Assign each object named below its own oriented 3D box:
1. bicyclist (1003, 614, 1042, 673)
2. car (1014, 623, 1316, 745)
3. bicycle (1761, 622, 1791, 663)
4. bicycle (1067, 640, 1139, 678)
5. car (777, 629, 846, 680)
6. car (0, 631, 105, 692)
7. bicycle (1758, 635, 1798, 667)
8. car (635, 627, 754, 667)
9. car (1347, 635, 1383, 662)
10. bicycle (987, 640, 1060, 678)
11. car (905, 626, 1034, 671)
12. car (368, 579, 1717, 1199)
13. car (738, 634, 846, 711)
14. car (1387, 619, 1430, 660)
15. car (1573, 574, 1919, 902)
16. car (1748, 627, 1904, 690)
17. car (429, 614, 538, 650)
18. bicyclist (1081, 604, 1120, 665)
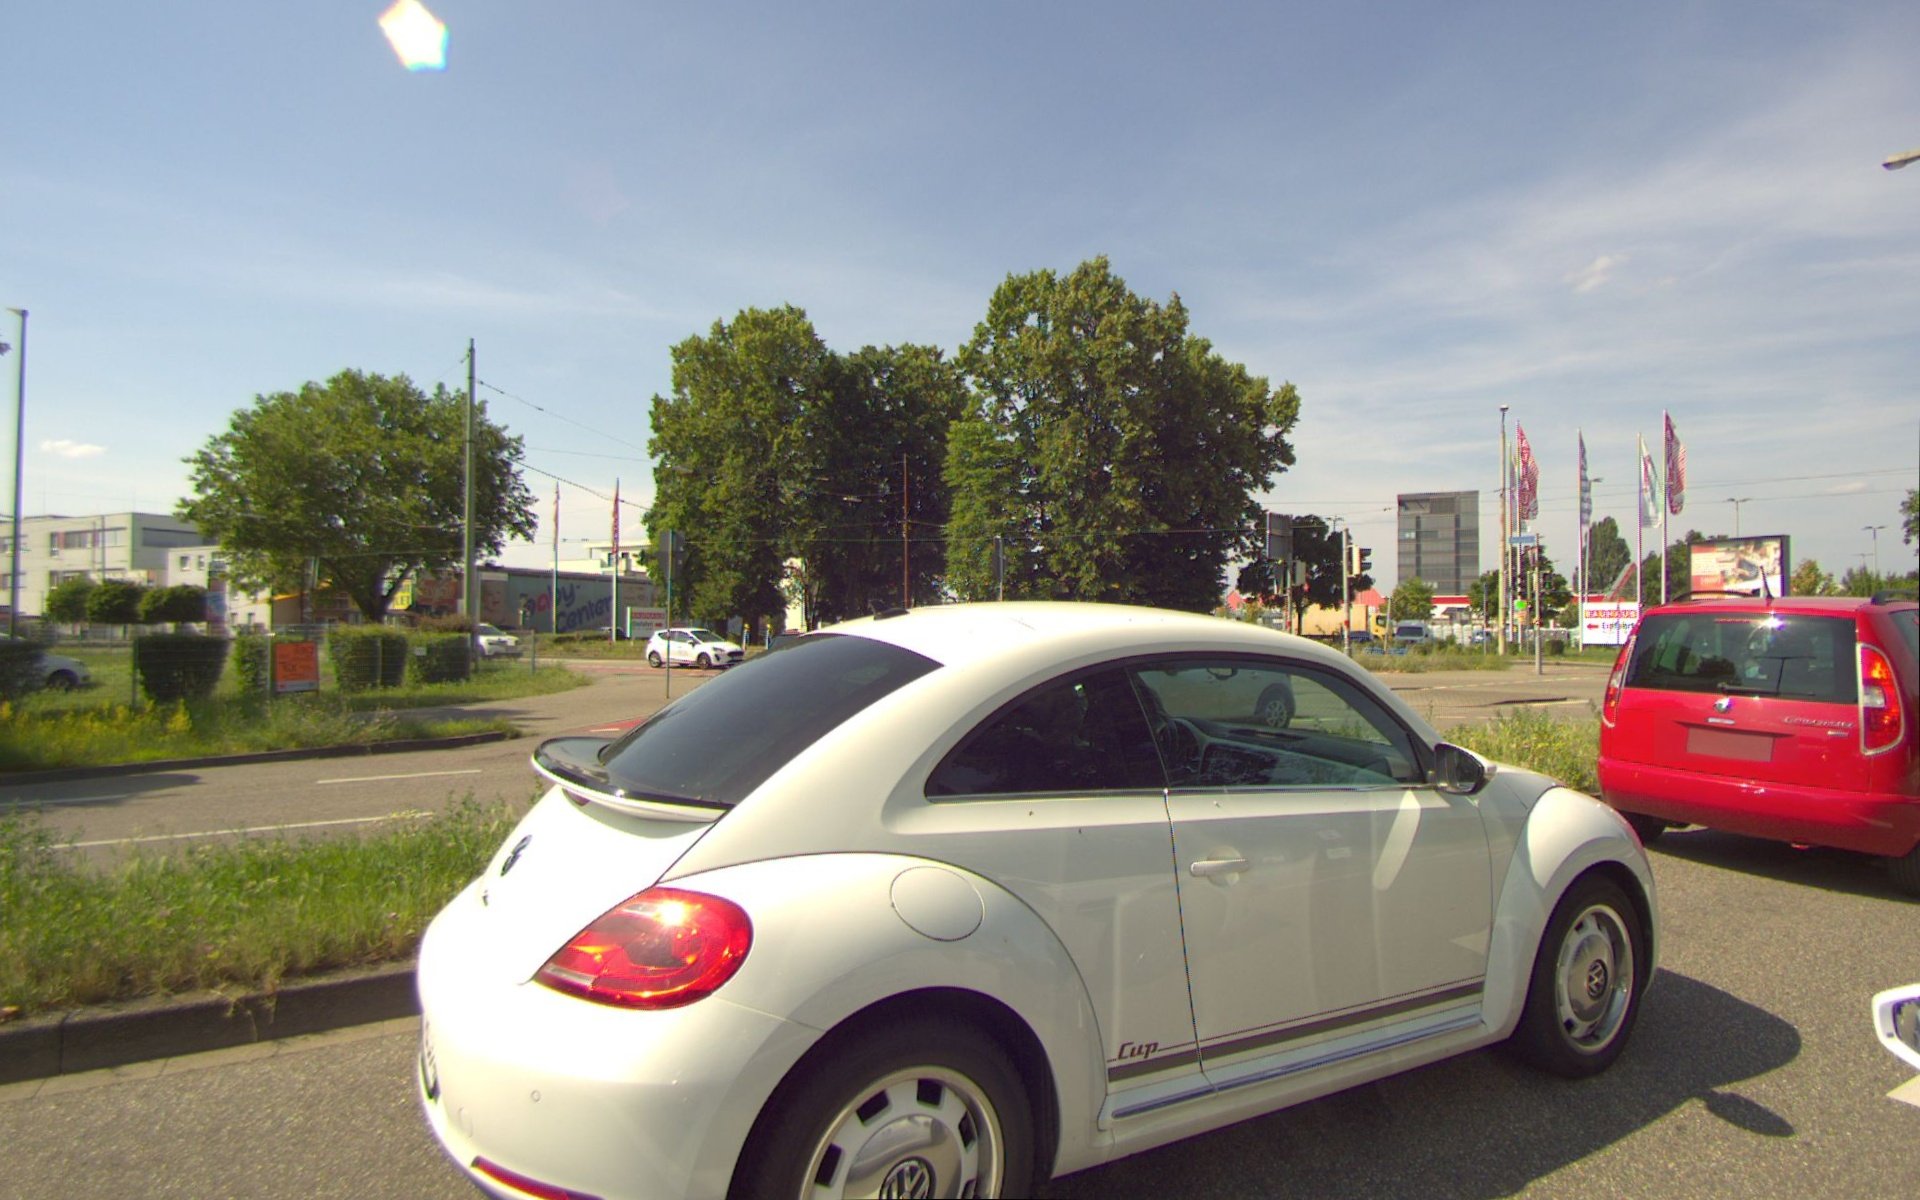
[{"bbox_3d":[1.838,1.266,29.325,0.883,1.668,0.787,-1,0,25],"label":"bicyclist"},{"bbox_3d":[2.896,1.100,14.035,3.952,1.489,1.768,1,-3,-30],"label":"car"},{"bbox_3d":[33.248,1.724,40.938,0.982,1.636,0.668,1,-2,-35],"label":"bicycle"},{"bbox_3d":[4.147,1.692,29.109,1.917,0.996,0.788,0,1,25],"label":"bicycle"},{"bbox_3d":[-4.420,1.542,29.466,1.814,1.407,3.992,0,-2,-11],"label":"car"},{"bbox_3d":[-27.364,1.715,28.134,1.961,1.687,4.844,-1,-2,21],"label":"car"},{"bbox_3d":[33.499,2.067,41.111,2.225,1.273,0.668,1,-2,-35],"label":"bicycle"},{"bbox_3d":[-9.859,1.713,37.361,3.924,1.439,1.999,-1,-2,24],"label":"car"},{"bbox_3d":[26.855,3.185,66.689,1.960,1.706,4.001,-1,-2,18],"label":"car"},{"bbox_3d":[1.863,1.712,29.308,1.972,1.053,0.744,-2,0,25],"label":"bicycle"},{"bbox_3d":[0.348,1.608,33.922,3.921,1.439,2.000,-1,-2,20],"label":"car"},{"bbox_3d":[0.469,0.749,3.263,4.087,1.499,1.757,1,0,-31],"label":"car"},{"bbox_3d":[-3.417,1.438,21.087,1.731,1.407,3.999,-1,-2,-2],"label":"car"},{"bbox_3d":[29.368,2.558,65.861,1.960,2.566,4.642,-1,-2,17],"label":"car"},{"bbox_3d":[5.960,0.764,6.661,3.872,1.616,1.621,2,-2,-30],"label":"car"},{"bbox_3d":[21.208,1.379,24.574,3.953,1.408,1.732,1,-2,-31],"label":"car"},{"bbox_3d":[-19.746,1.319,41.648,3.955,1.439,1.999,-1,-2,24],"label":"car"},{"bbox_3d":[4.082,0.998,29.137,0.883,1.738,0.782,-1,0,25],"label":"bicyclist"}]
